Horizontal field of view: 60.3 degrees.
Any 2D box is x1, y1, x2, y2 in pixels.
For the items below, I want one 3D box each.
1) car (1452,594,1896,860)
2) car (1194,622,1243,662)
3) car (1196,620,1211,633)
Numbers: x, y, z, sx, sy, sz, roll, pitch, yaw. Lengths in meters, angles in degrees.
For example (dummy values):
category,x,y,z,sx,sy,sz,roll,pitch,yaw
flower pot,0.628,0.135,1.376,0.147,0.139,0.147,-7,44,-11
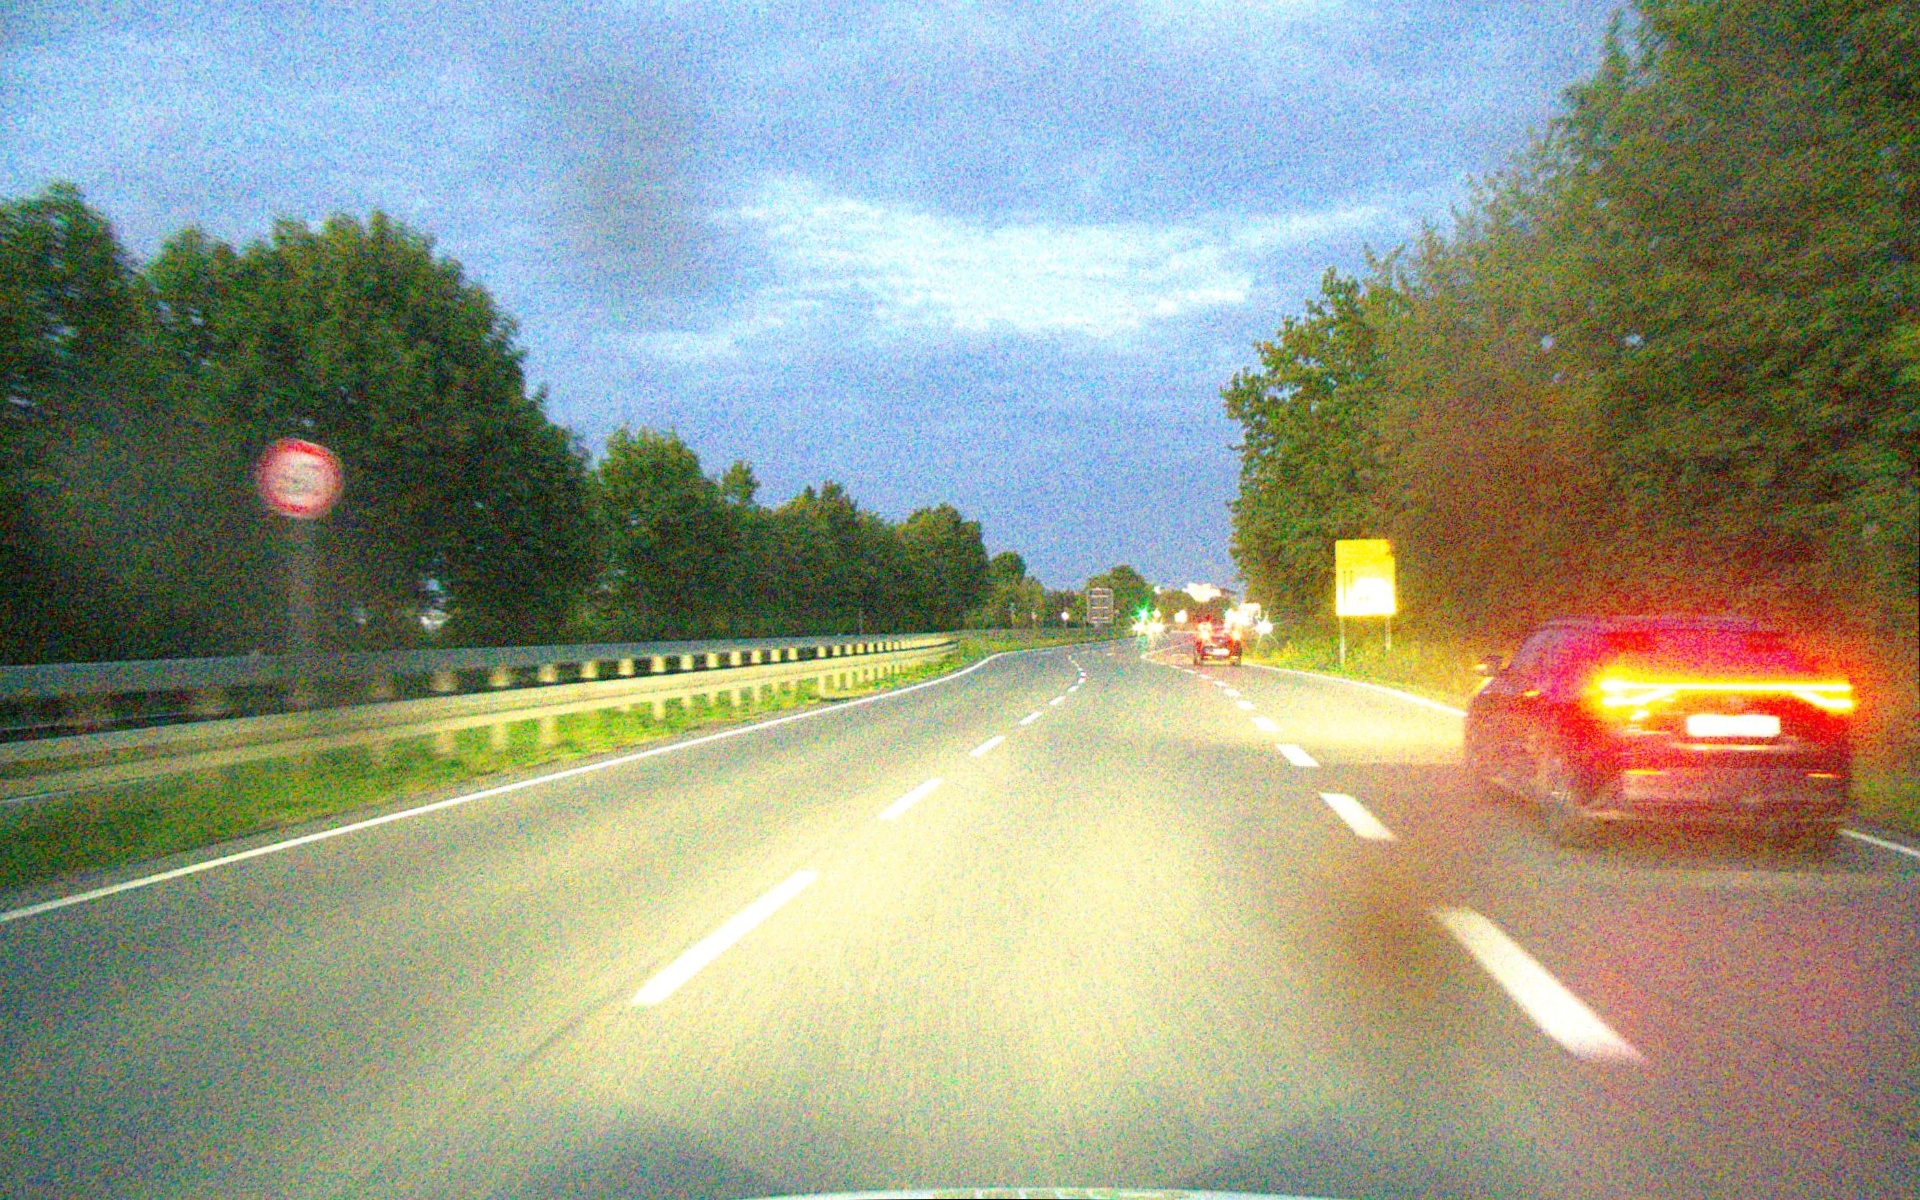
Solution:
category,x,y,z,sx,sy,sz,roll,pitch,yaw
car,5.127,0.825,12.618,1.860,1.648,4.559,0,-1,6
car,9.871,1.602,63.355,1.715,1.478,4.436,0,-1,7
car,36.537,3.972,248.049,1.951,1.780,4.003,-4,-3,9
